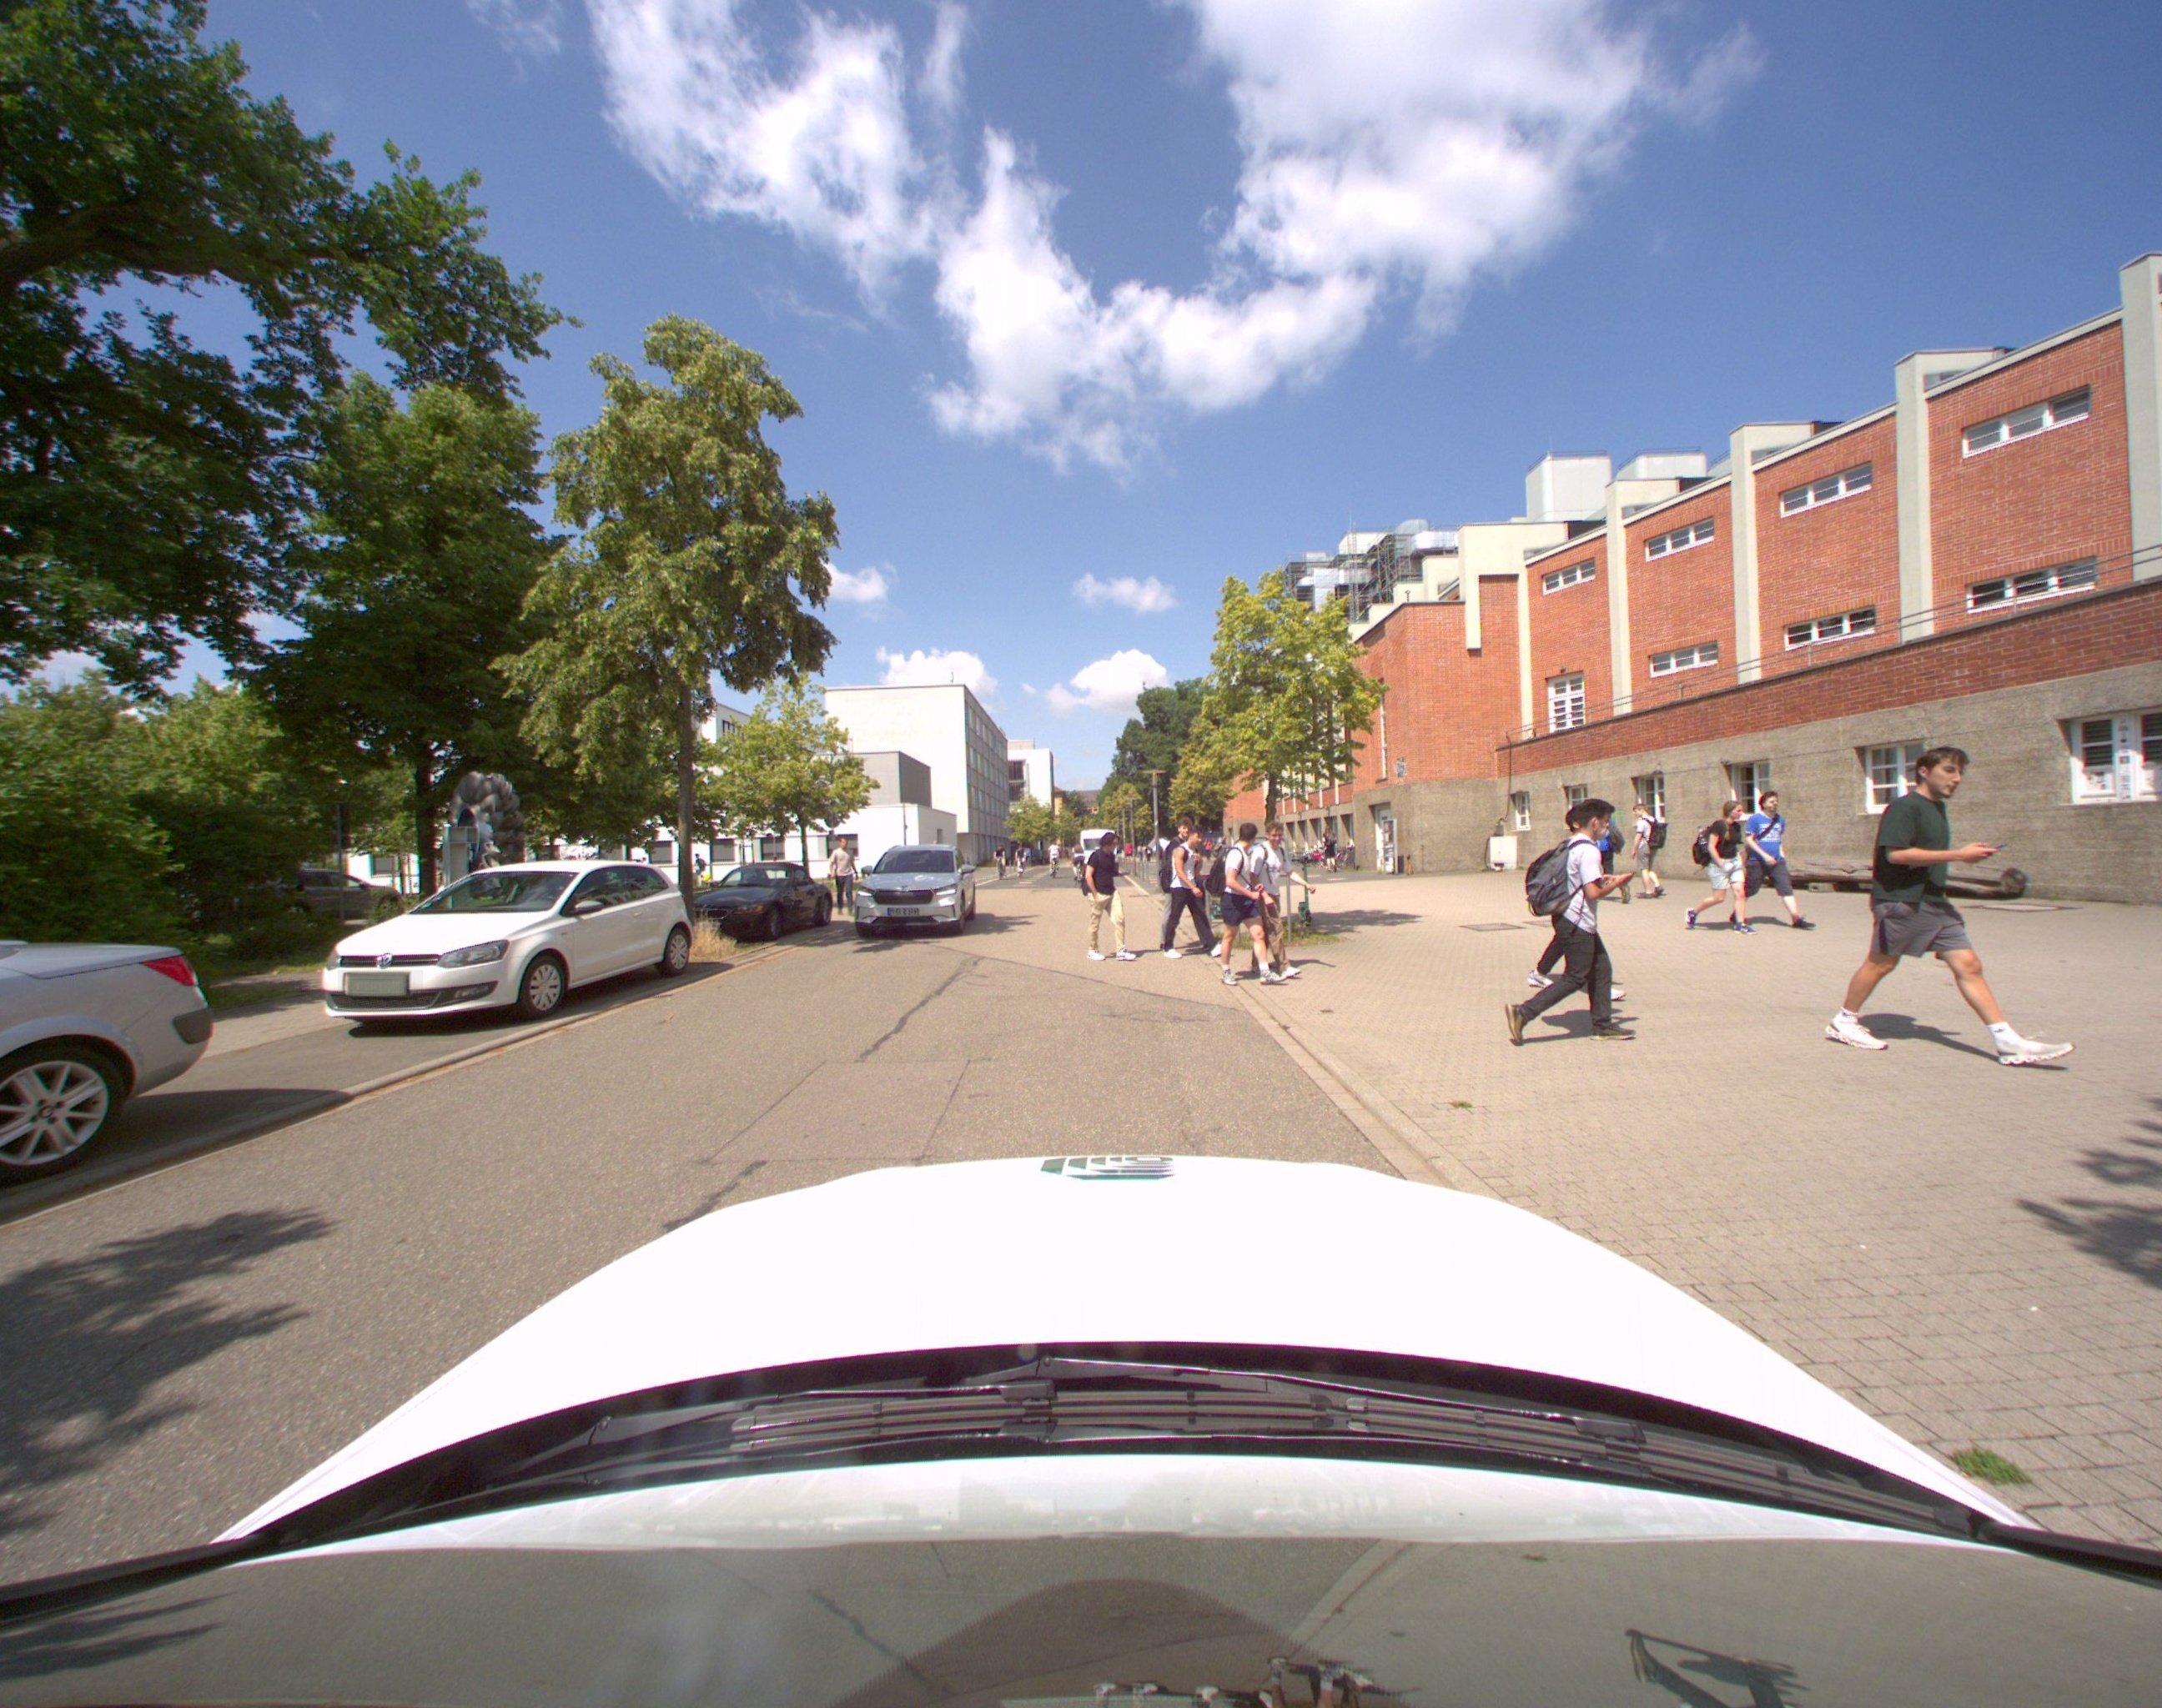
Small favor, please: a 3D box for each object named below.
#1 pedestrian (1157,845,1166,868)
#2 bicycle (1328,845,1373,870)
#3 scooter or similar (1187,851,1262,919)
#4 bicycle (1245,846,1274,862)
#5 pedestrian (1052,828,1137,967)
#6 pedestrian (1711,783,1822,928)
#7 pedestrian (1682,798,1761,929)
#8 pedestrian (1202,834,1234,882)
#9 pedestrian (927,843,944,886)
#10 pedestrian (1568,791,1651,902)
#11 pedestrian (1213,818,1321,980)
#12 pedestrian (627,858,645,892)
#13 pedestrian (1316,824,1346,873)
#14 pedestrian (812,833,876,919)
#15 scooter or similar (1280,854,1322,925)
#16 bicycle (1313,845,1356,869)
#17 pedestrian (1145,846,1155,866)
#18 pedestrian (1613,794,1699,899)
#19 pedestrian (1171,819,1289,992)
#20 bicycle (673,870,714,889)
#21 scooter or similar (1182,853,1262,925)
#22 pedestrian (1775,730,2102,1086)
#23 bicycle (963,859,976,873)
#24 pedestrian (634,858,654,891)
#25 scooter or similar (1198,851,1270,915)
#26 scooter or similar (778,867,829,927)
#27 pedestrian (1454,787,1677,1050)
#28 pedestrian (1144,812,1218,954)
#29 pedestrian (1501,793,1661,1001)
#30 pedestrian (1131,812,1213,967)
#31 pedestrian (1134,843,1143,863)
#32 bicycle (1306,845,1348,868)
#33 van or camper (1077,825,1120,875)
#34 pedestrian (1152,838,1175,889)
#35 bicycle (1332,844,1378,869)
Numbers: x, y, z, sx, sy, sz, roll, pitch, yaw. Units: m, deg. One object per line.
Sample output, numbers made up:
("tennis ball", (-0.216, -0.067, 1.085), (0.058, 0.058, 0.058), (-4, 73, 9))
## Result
("pedestrian", (6.739, 0.189, 68.097), (0.574, 1.859, 0.569), (-3, 0, -2))
("bicycle", (11.924, 0.144, 36.096), (1.778, 0.978, 0.560), (-3, 0, -1))
("scooter or similar", (2.810, 0.610, 15.978), (1.248, 1.265, 0.655), (-3, 0, 32))
("bicycle", (12.087, -0.017, 55.068), (1.803, 0.985, 0.560), (-4, 0, 0))
("pedestrian", (0.192, 0.558, 10.950), (0.794, 1.772, 0.859), (-3, 1, 22))
("pedestrian", (9.009, 0.018, 10.721), (0.708, 1.787, 0.749), (-5, 0, -12))
("pedestrian", (8.281, 0.114, 10.541), (0.502, 1.630, 0.569), (-3, 1, -12))
("pedestrian", (5.207, 0.141, 30.977), (0.852, 1.732, 1.158), (-3, 0, -6))
("pedestrian", (-6.212, 0.438, 34.734), (0.667, 1.785, 0.981), (-2, -1, -12))
("pedestrian", (9.561, -0.139, 14.767), (0.700, 1.891, 0.992), (-4, 1, -5))
("pedestrian", (2.125, 0.488, 9.314), (0.897, 1.739, 0.683), (-3, 1, 39))
("pedestrian", (-23.719, 1.119, 43.439), (0.550, 1.764, 0.586), (-2, 0, 1))
("pedestrian", (9.778, -0.220, 31.893), (0.787, 1.859, 1.117), (-3, 0, 1))
("pedestrian", (-5.534, 0.505, 19.000), (1.023, 1.903, 1.165), (-3, 0, -36))
("scooter or similar", (3.907, 0.607, 14.420), (0.643, 1.160, 1.270), (-3, 0, 16))
("bicycle", (11.871, 0.121, 38.205), (1.803, 0.985, 0.560), (-4, 0, 0))
("pedestrian", (6.543, 0.164, 77.405), (0.787, 1.859, 1.026), (-3, 0, 2))
("pedestrian", (10.475, -0.138, 14.873), (0.700, 1.803, 0.992), (-5, 1, -5))
("pedestrian", (1.615, 0.522, 8.827), (0.971, 1.739, 0.705), (-2, 1, 40))
("bicycle", (-21.721, 1.433, 45.631), (2.098, 1.002, 0.815), (-2, -1, 22))
("scooter or similar", (2.628, 0.652, 15.205), (1.248, 1.265, 0.655), (-3, 0, 32))
("pedestrian", (5.133, 0.273, 4.935), (0.856, 1.859, 1.107), (-3, 0, -26))
("bicycle", (-8.022, 0.852, 58.476), (0.520, 0.985, 1.635), (-4, 0, 5))
("pedestrian", (-23.768, 1.129, 44.257), (0.690, 1.749, 0.636), (-2, 0, 1))
("scooter or similar", (3.147, 0.599, 16.790), (1.248, 1.265, 0.644), (-3, 0, 32))
("scooter or similar", (-6.543, 0.989, 19.266), (0.501, 1.299, 1.220), (-3, 1, 13))
("pedestrian", (3.386, 0.442, 5.788), (1.098, 1.716, 0.712), (-3, -1, 9))
("pedestrian", (1.458, 0.410, 11.771), (0.819, 1.980, 0.695), (-3, 1, 21))
("pedestrian", (4.493, 0.357, 7.343), (0.707, 1.719, 0.982), (-3, 0, -42))
("pedestrian", (1.213, 0.461, 10.935), (0.620, 1.980, 0.820), (-3, -1, -31))
("pedestrian", (5.477, -0.119, 77.735), (0.787, 1.859, 1.244), (-3, 0, 2))
("bicycle", (11.959, 0.111, 39.622), (1.803, 0.985, 0.560), (-4, 0, 0))
("van or camper", (0.982, -0.176, 43.491), (1.985, 2.445, 4.574), (-3, -1, 4))
("pedestrian", (2.825, 0.310, 27.945), (0.700, 1.694, 0.962), (-2, 0, 1))
("bicycle", (11.920, 0.096, 35.452), (1.785, 0.969, 0.560), (-3, 0, 0))
